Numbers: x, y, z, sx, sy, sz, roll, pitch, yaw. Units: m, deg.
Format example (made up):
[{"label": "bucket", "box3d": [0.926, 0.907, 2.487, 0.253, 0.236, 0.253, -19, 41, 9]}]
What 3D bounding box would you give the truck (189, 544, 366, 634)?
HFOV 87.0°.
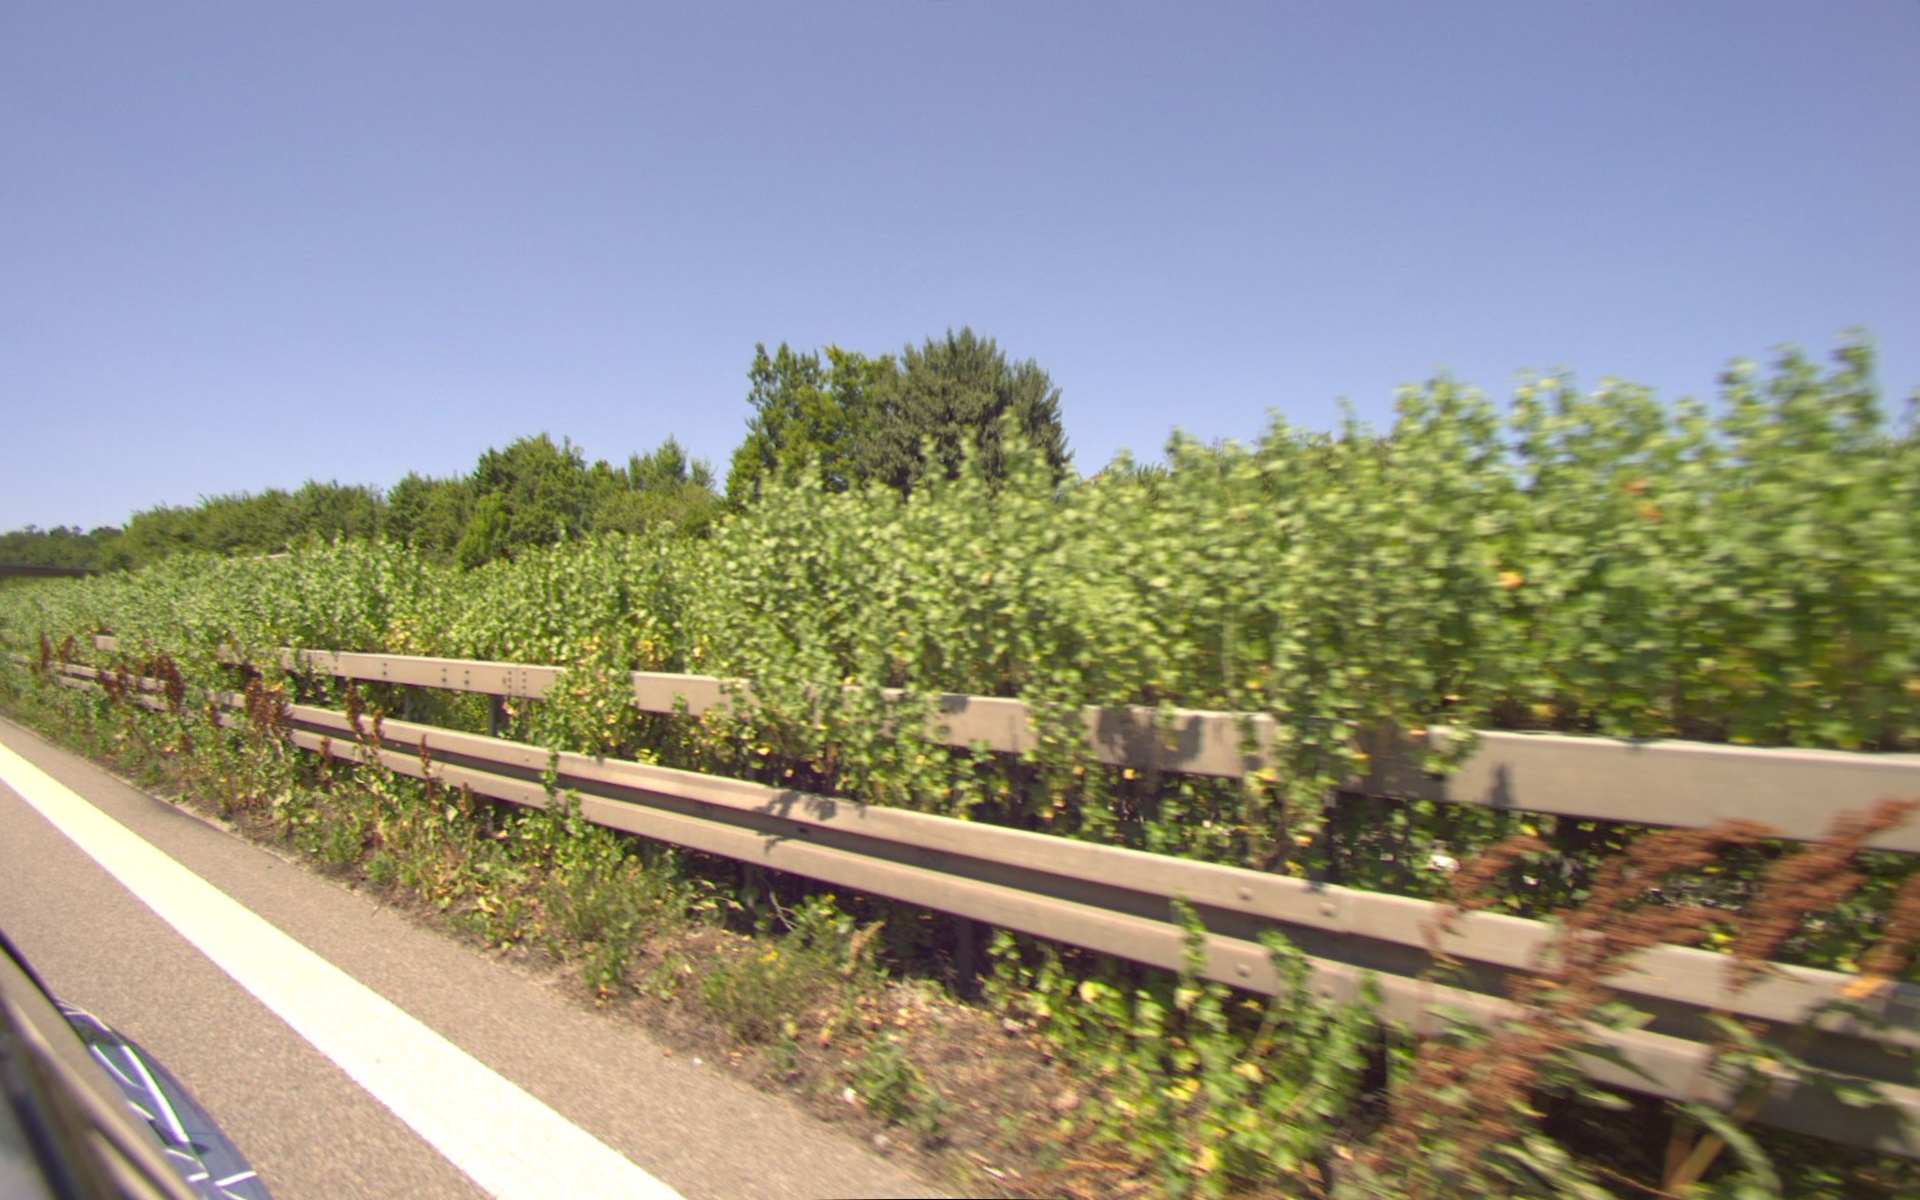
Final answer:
[{"label": "truck", "box3d": [-35.192, -0.381, 51.626, 16.812, 4.044, 2.945, -1, 0, 40]}]
